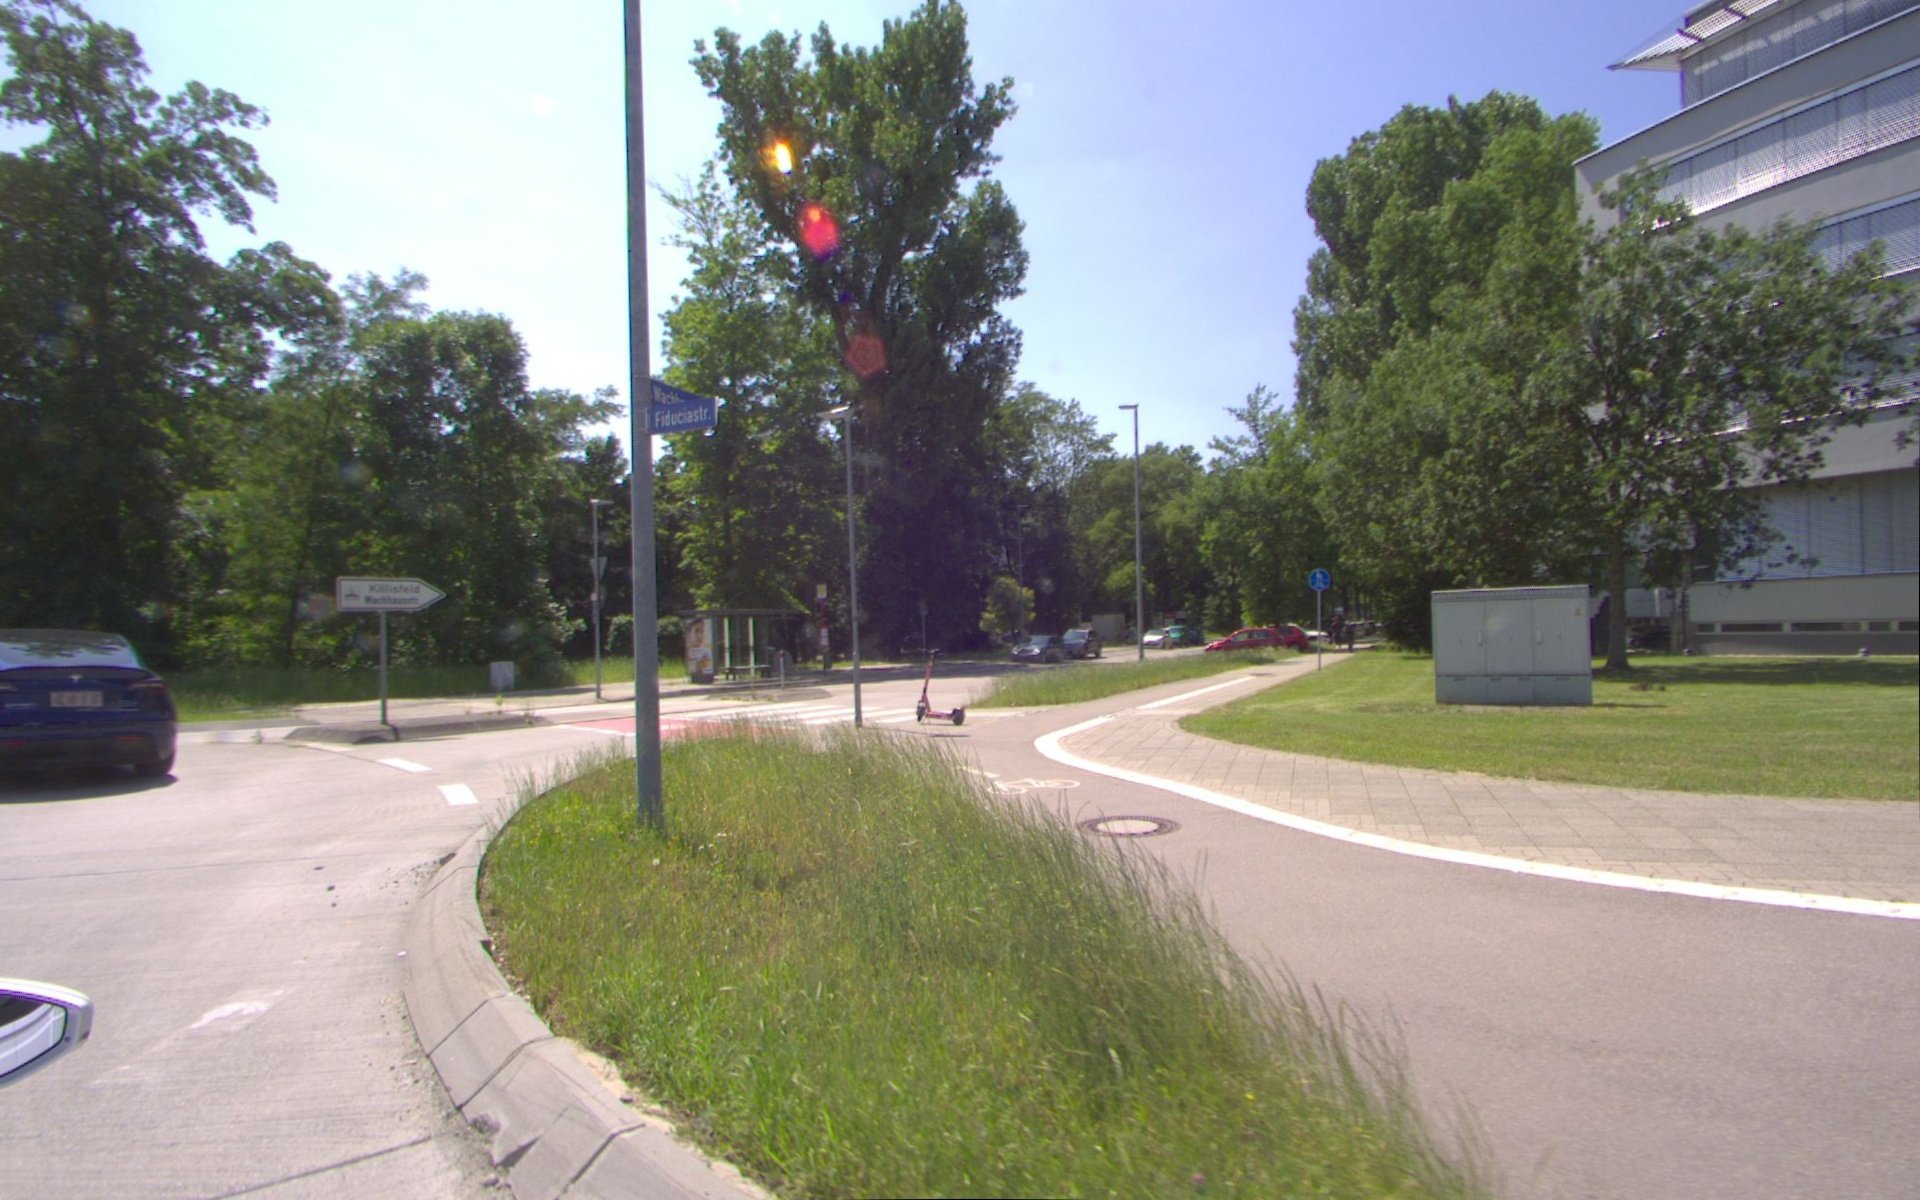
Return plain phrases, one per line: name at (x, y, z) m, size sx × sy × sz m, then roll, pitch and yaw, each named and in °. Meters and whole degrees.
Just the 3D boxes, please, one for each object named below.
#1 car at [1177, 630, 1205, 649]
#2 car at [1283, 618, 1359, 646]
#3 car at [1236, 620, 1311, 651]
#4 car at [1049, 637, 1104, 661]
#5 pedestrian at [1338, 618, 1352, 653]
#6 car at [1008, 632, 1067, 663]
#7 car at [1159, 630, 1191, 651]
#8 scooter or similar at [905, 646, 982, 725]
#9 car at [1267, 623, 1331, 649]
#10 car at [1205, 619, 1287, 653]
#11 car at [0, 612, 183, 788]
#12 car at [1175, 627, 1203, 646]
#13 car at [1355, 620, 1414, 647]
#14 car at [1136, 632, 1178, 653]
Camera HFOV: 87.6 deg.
car at (19.353, 3.295, 83.978) m, size 1.707 × 1.513 × 3.436 m, roll -2°, pitch -2°, yaw 23°
car at (27.689, 2.462, 76.845) m, size 5.231 × 2.010 × 1.754 m, roll -2°, pitch -3°, yaw 26°
car at (16.485, 1.899, 52.625) m, size 3.623 × 1.501 × 1.865 m, roll -2°, pitch -3°, yaw 22°
car at (6.739, 2.822, 57.627) m, size 1.968 × 1.326 × 3.988 m, roll -2°, pitch -3°, yaw 25°
pedestrian at (18.249, 1.705, 47.483) m, size 0.479 × 1.637 × 0.585 m, roll -2°, pitch -2°, yaw 31°
car at (4.072, 2.436, 52.037) m, size 1.675 × 1.505 × 3.988 m, roll 1°, pitch -1°, yaw 26°
car at (16.902, 3.210, 78.570) m, size 1.708 × 1.563 × 3.435 m, roll -2°, pitch -3°, yaw 25°
scooter or similar at (-0.285, 1.364, 16.163) m, size 0.443 × 1.216 × 1.387 m, roll 0°, pitch -3°, yaw -41°
car at (20.764, 2.234, 61.312) m, size 3.623 × 1.501 × 1.865 m, roll -2°, pitch -3°, yaw 22°
car at (13.833, 1.745, 48.363) m, size 3.623 × 1.501 × 1.865 m, roll -2°, pitch -3°, yaw 22°
car at (-10.454, 1.029, 11.325) m, size 4.709 × 1.660 × 1.982 m, roll -3°, pitch -2°, yaw 44°
car at (19.621, 3.127, 85.789) m, size 1.707 × 1.479 × 3.436 m, roll -2°, pitch -2°, yaw 23°
car at (34.360, 2.748, 81.196) m, size 1.974 × 2.039 × 3.977 m, roll 0°, pitch -3°, yaw -33°
car at (14.722, 3.200, 74.776) m, size 1.969 × 1.488 × 3.986 m, roll -2°, pitch -3°, yaw 28°
